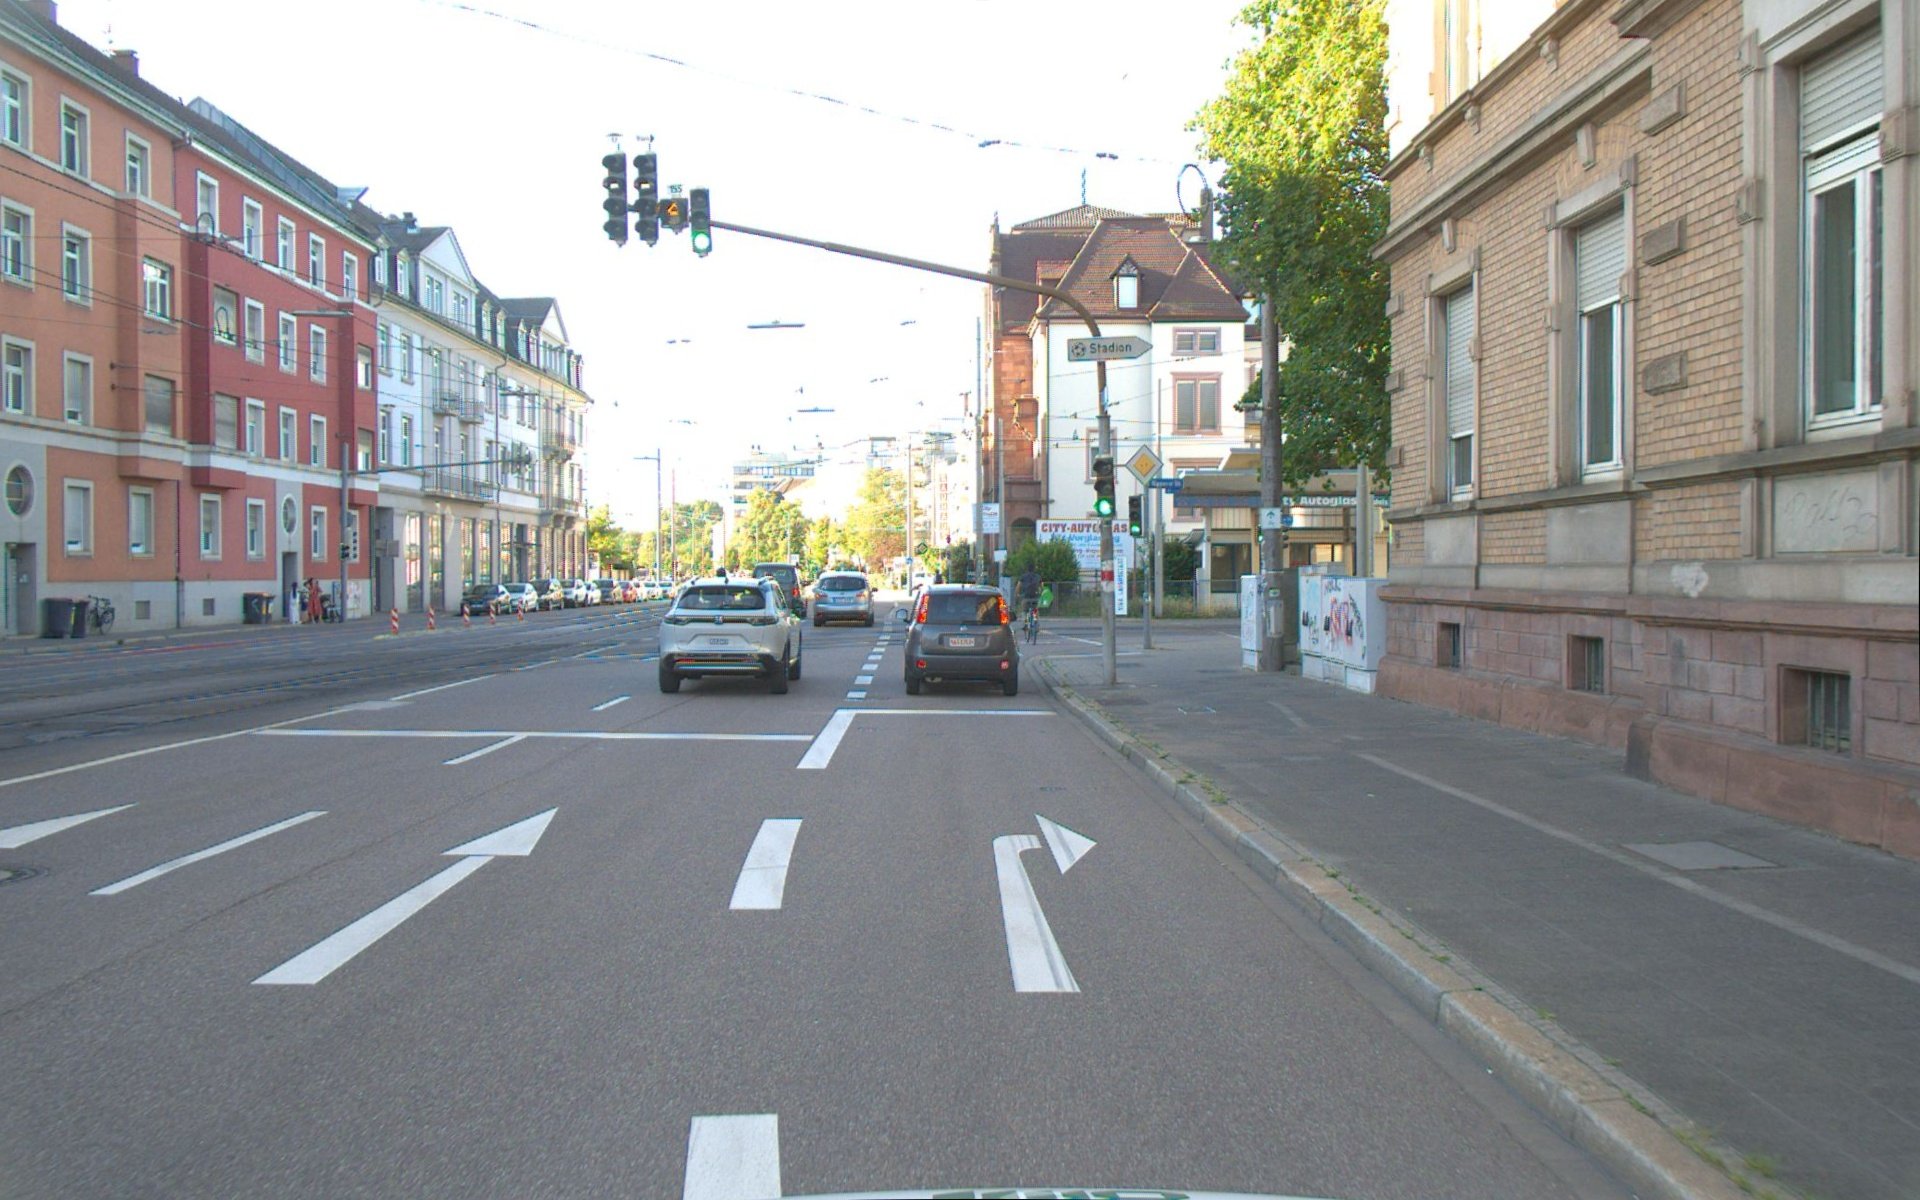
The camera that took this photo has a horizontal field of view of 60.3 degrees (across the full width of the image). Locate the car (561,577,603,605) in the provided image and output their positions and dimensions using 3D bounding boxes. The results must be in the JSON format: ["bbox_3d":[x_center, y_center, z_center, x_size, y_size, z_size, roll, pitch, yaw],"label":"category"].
[{"bbox_3d":[-22.614,-0.547,99.020,1.684,1.579,3.999,-1,1,-1],"label":"car"}]

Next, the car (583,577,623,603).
[{"bbox_3d":[-22.442,-0.620,104.102,1.684,1.579,3.999,-1,1,-1],"label":"car"}]

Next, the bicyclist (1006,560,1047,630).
[{"bbox_3d":[1.485,-0.115,37.229,0.817,1.551,0.993,0,0,-4],"label":"bicyclist"}]

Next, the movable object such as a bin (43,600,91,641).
[{"bbox_3d":[-23.412,0.538,43.375,0.827,1.058,0.810,0,1,-6],"label":"movable object such as a bin"}]

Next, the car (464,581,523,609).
[{"bbox_3d":[-21.560,-0.254,76.599,1.684,1.254,3.999,-1,1,-1],"label":"car"}]

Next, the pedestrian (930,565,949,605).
[{"bbox_3d":[-0.961,-0.688,76.401,0.857,1.856,1.184,0,0,0],"label":"pedestrian"}]

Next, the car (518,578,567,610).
[{"bbox_3d":[-21.981,-0.329,87.125,1.684,1.579,3.855,-1,1,-1],"label":"car"}]

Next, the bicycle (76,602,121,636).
[{"bbox_3d":[-23.826,0.524,45.766,0.327,0.906,1.605,0,1,3],"label":"bicycle"}]

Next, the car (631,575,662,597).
[{"bbox_3d":[-23.300,-1.053,123.047,1.684,1.579,3.999,0,1,-1],"label":"car"}]

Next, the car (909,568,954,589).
[{"bbox_3d":[-2.854,-2.101,163.121,4.182,2.049,1.995,0,1,-11],"label":"car"}]

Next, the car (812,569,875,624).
[{"bbox_3d":[-3.573,-0.131,51.289,1.777,1.609,3.999,0,1,-2],"label":"car"}]

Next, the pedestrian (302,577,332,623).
[{"bbox_3d":[-23.302,-0.002,59.931,0.823,1.661,0.784,-1,1,-39],"label":"pedestrian"}]

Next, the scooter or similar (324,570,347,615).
[{"bbox_3d":[-23.106,-0.294,61.180,0.647,1.661,0.786,0,1,-34],"label":"scooter or similar"}]

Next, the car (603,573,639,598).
[{"bbox_3d":[-22.529,-0.984,110.057,1.684,1.579,3.999,-1,1,-1],"label":"car"}]

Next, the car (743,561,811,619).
[{"bbox_3d":[-6.783,-0.388,61.744,2.128,2.044,4.807,0,1,-2],"label":"car"}]

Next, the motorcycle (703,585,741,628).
[{"bbox_3d":[-6.385,0.170,44.491,0.761,1.101,2.280,0,1,-2],"label":"motorcycle"}]

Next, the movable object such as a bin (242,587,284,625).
[{"bbox_3d":[-23.889,0.200,56.708,0.852,1.271,1.234,0,1,5],"label":"movable object such as a bin"}]

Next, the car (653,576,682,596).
[{"bbox_3d":[-23.686,-1.139,133.897,1.684,1.579,3.999,-1,1,-1],"label":"car"}]

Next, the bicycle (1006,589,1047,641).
[{"bbox_3d":[1.490,0.320,37.139,0.755,1.105,1.870,0,1,-3],"label":"bicycle"}]

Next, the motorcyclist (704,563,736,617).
[{"bbox_3d":[-6.443,-0.272,44.425,0.761,1.448,0.891,0,1,-2],"label":"motorcyclist"}]

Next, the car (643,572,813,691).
[{"bbox_3d":[-3.240,0.383,23.859,1.908,1.555,4.089,0,1,-1],"label":"car"}]

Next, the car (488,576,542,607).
[{"bbox_3d":[-22.057,-0.438,82.168,1.684,1.477,3.999,-1,1,-1],"label":"car"}]

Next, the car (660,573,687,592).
[{"bbox_3d":[-24.235,-1.509,139.891,1.684,1.579,3.999,-1,1,-1],"label":"car"}]

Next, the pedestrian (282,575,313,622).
[{"bbox_3d":[-23.611,-0.054,58.981,0.776,1.661,0.655,0,1,17],"label":"pedestrian"}]

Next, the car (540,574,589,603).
[{"bbox_3d":[-22.415,-0.649,93.884,1.798,1.579,4.273,-1,1,-1],"label":"car"}]

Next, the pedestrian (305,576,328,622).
[{"bbox_3d":[-23.653,-0.045,60.822,0.647,1.661,0.786,0,1,-34],"label":"pedestrian"}]

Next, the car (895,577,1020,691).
[{"bbox_3d":[0.025,0.429,24.534,1.695,1.526,4.001,0,1,2],"label":"car"}]

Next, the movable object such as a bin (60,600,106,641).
[{"bbox_3d":[-23.471,0.543,44.282,0.827,1.058,0.810,0,1,-6],"label":"movable object such as a bin"}]
